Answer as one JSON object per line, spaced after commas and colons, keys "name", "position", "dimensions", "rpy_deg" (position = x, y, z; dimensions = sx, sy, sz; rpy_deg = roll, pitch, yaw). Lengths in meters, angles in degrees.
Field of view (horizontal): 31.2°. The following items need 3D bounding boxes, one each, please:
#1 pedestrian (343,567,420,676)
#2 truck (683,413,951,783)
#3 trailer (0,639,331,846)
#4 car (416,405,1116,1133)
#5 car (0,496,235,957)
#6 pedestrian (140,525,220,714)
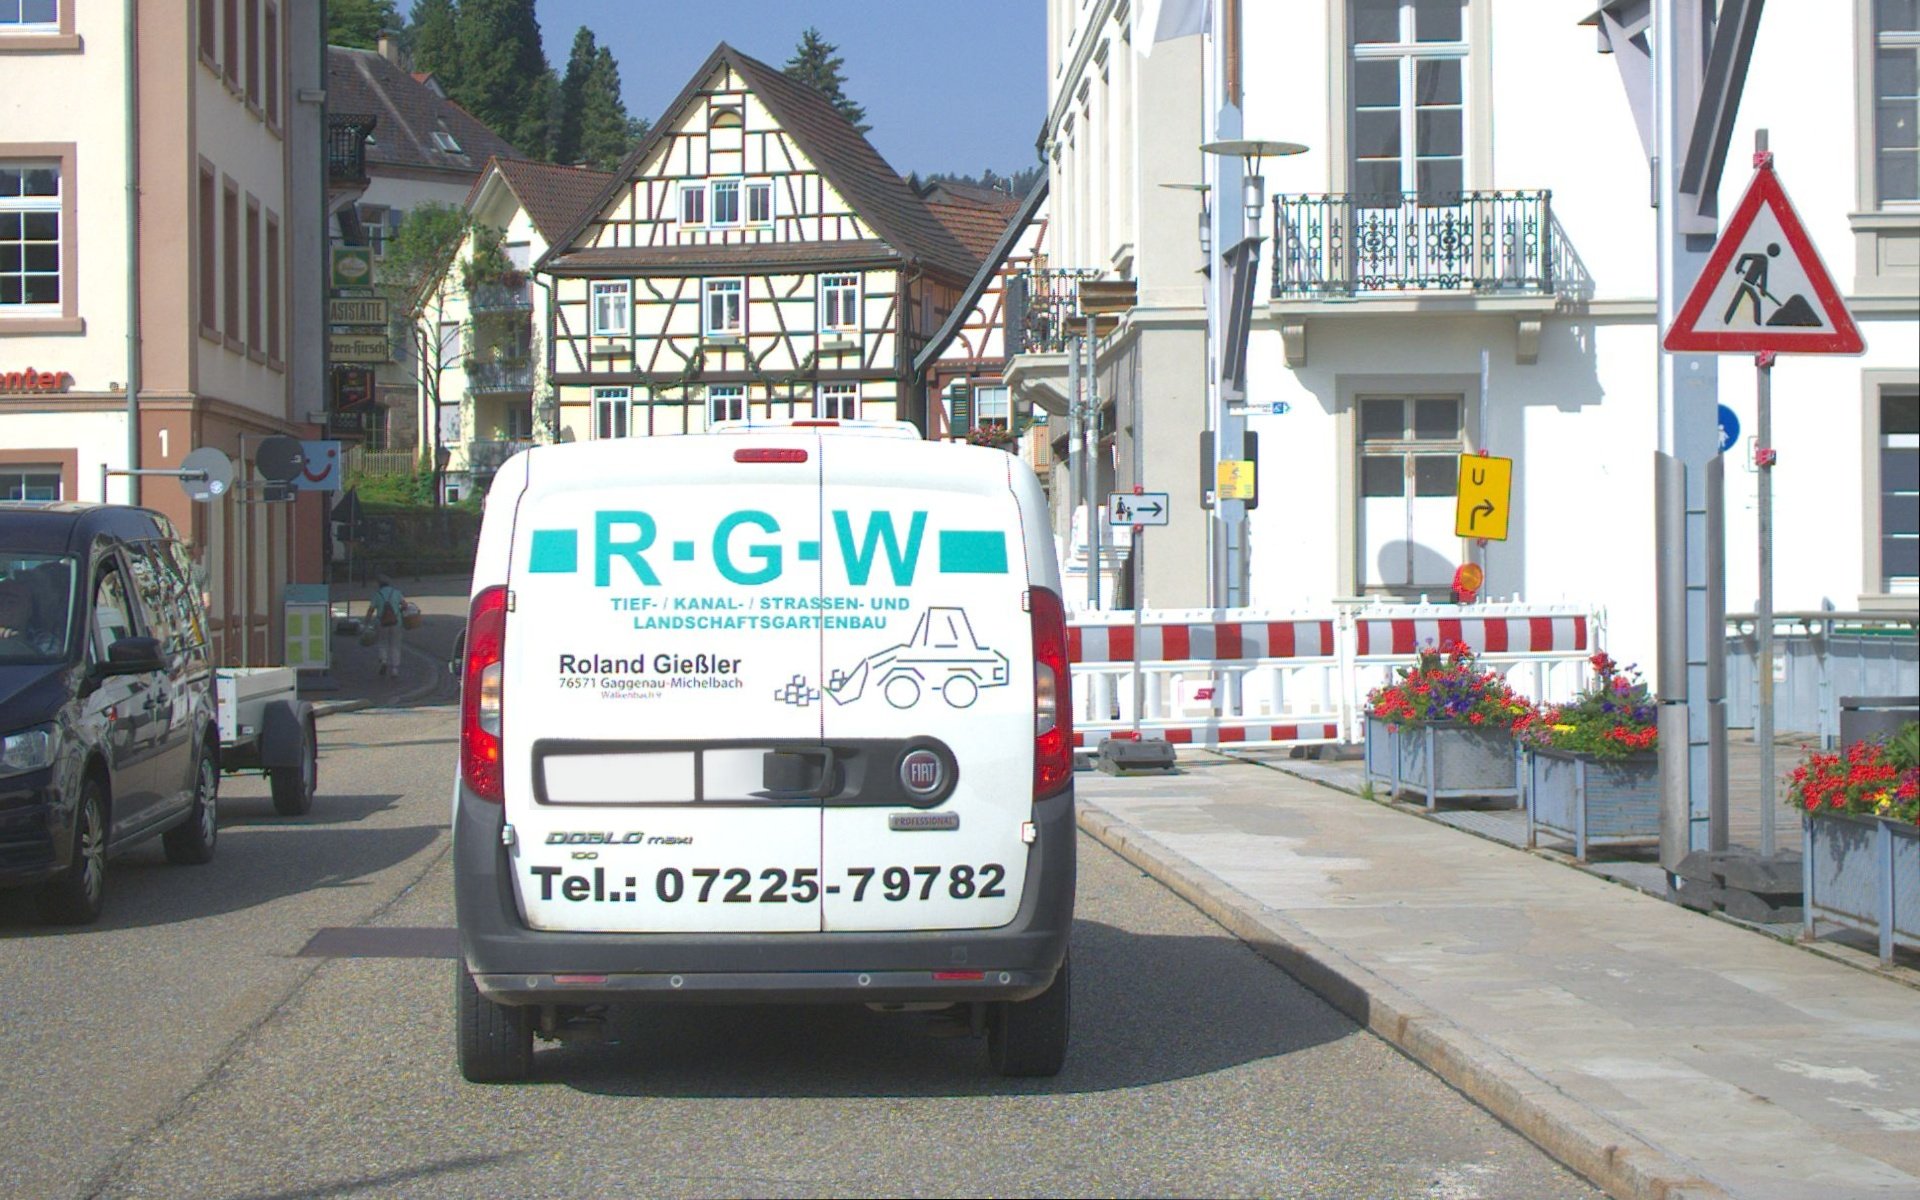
{"name": "pedestrian", "position": [-8.926, 0.326, 53.091], "dimensions": [1.073, 1.641, 0.686], "rpy_deg": [0, 1, -1]}
{"name": "truck", "position": [-1.163, -0.039, 26.143], "dimensions": [1.861, 2.576, 4.261], "rpy_deg": [0, 1, -4]}
{"name": "trailer", "position": [-4.793, 0.775, 20.047], "dimensions": [1.750, 1.019, 4.186], "rpy_deg": [-1, 0, -4]}
{"name": "car", "position": [-0.774, 0.422, 11.228], "dimensions": [1.844, 1.899, 4.316], "rpy_deg": [0, 1, -7]}
{"name": "car", "position": [-4.511, 0.427, 15.596], "dimensions": [1.776, 1.786, 4.698], "rpy_deg": [0, 1, -4]}
{"name": "pedestrian", "position": [-7.388, 0.176, 32.583], "dimensions": [0.614, 1.756, 0.864], "rpy_deg": [0, 1, -5]}
